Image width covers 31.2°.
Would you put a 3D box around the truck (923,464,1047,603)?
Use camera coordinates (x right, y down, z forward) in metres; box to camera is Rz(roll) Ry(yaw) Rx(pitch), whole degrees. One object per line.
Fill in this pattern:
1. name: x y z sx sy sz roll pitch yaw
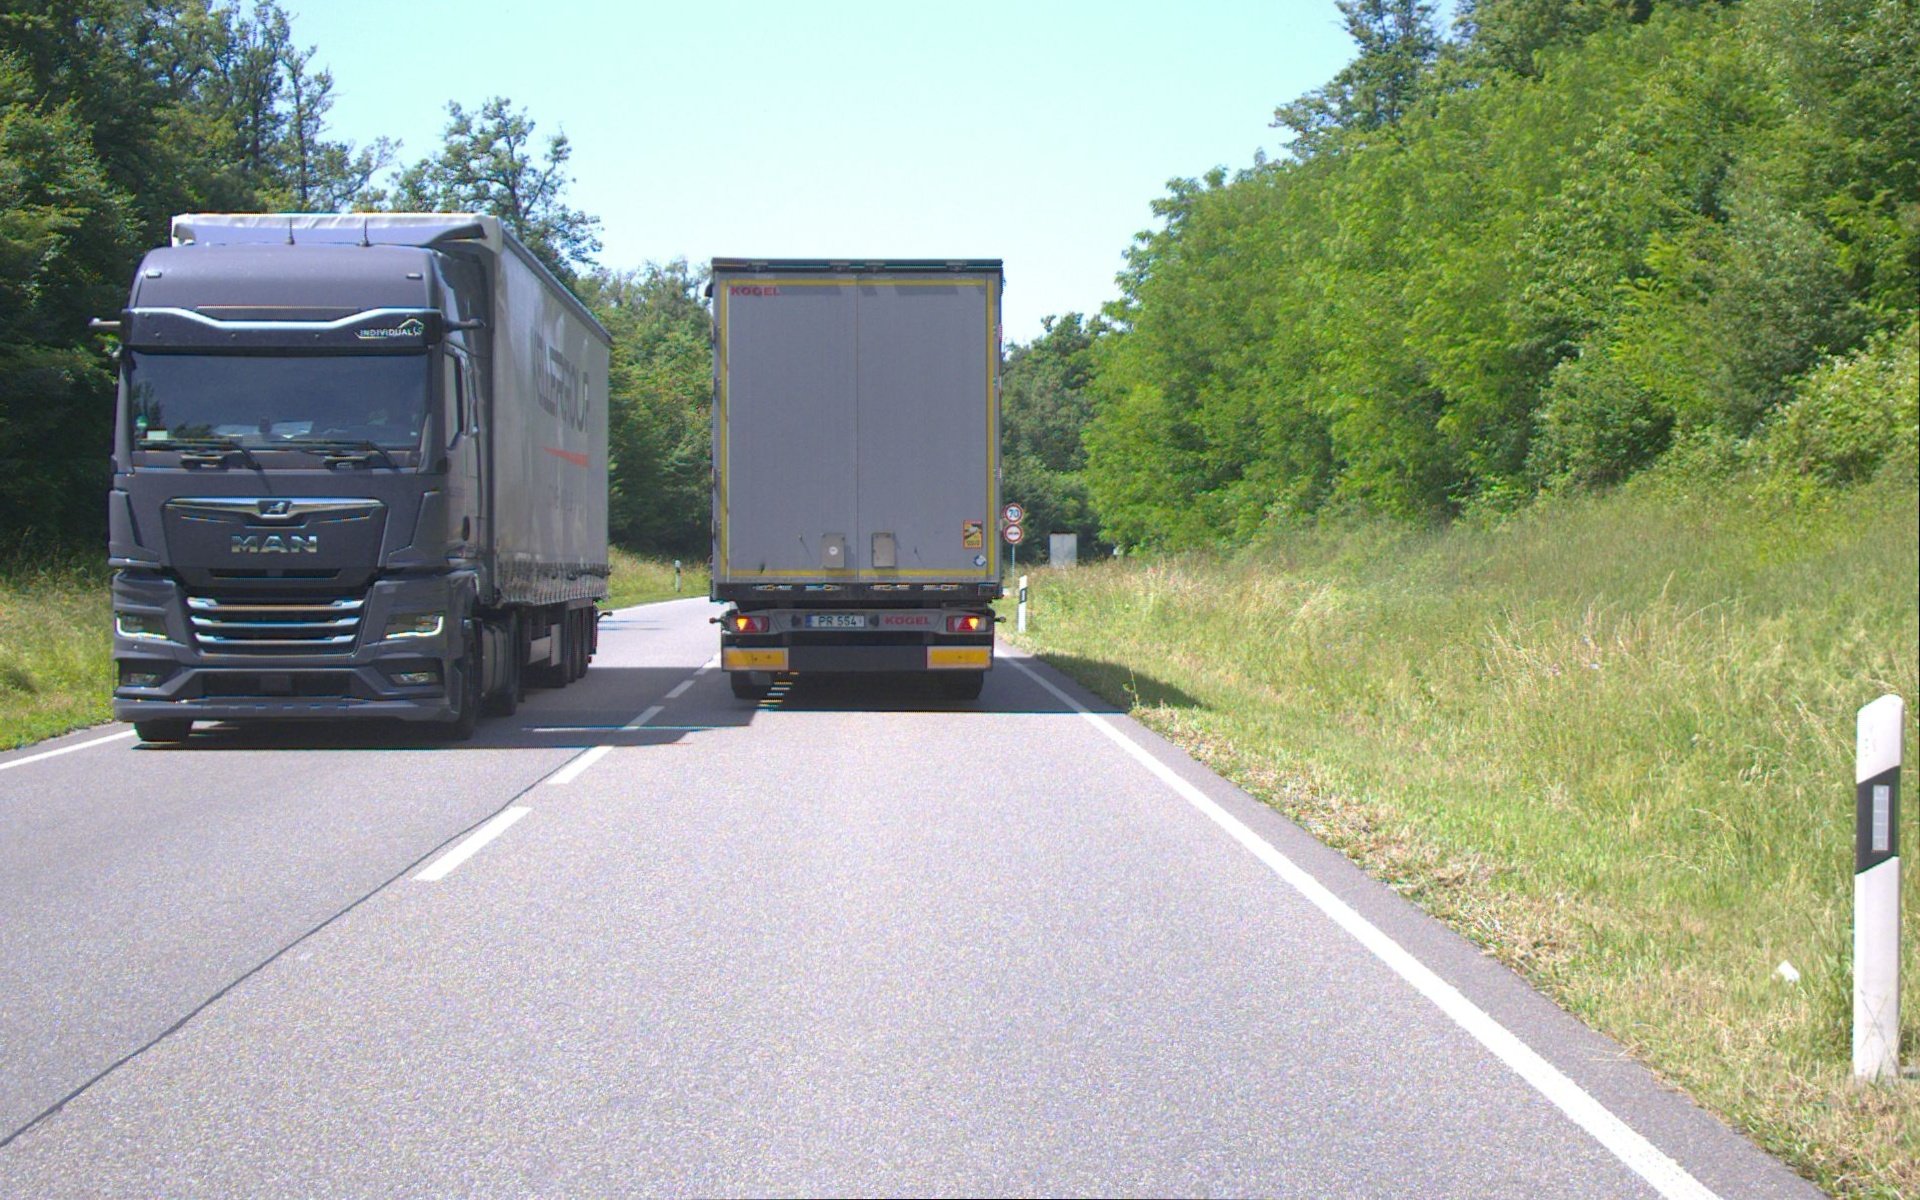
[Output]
1. truck: 0.709 -2.213 116.085 3.793 4.358 14.921 1 1 -1

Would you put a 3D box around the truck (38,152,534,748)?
1. truck: -5.086 -1.114 26.951 2.922 4.201 5.343 0 1 -1

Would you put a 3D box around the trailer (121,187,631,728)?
1. trailer: -5.230 -1.256 33.786 2.941 4.238 13.621 0 1 -1

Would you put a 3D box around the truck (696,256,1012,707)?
1. truck: -1.116 -1.131 36.139 2.761 3.933 12.199 0 1 -2

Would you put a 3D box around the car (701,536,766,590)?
1. car: -6.531 -1.085 99.407 1.660 1.490 3.805 -1 1 -1
